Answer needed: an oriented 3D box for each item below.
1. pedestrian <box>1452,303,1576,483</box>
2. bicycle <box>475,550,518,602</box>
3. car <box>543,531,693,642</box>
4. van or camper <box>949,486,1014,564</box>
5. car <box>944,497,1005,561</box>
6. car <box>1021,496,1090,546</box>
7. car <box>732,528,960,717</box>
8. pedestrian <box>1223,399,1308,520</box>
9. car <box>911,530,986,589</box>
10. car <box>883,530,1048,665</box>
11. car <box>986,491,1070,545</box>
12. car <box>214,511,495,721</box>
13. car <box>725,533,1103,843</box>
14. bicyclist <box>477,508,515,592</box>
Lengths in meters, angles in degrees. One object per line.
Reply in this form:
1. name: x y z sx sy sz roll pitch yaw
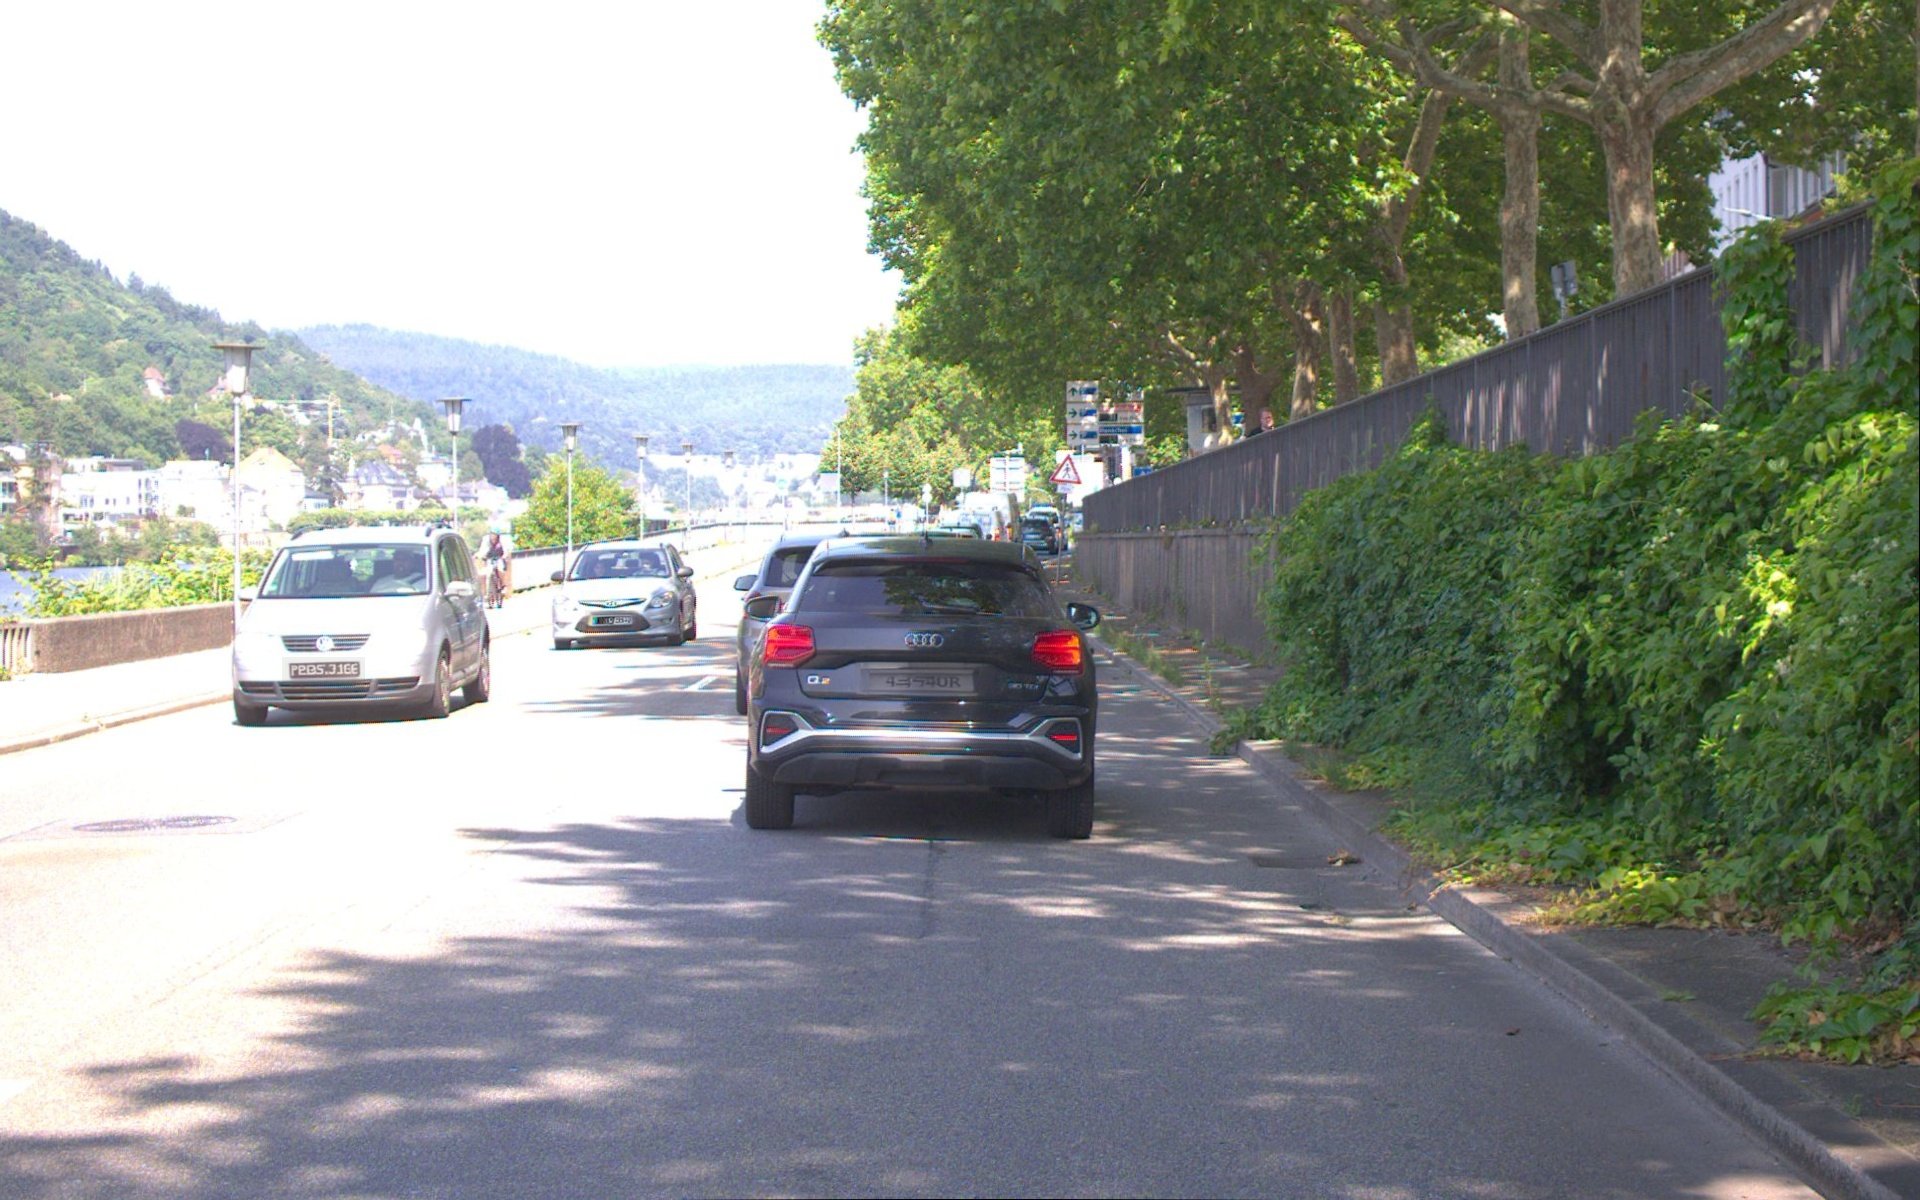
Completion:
1. pedestrian: 4.393 -1.635 27.294 0.753 1.361 0.814 -3 1 -2
2. bicycle: -9.347 -0.496 69.357 0.632 1.008 1.986 -1 1 -1
3. car: -4.777 -0.221 48.448 1.731 1.437 4.046 -2 1 -1
4. van or camper: 0.827 -2.812 128.709 2.310 2.837 4.246 -1 1 1
5. car: 0.488 -2.470 119.004 1.993 2.162 4.001 0 1 -1
6. car: 4.153 -3.484 151.058 2.661 2.006 5.825 -3 1 -1
7. car: -0.955 0.140 29.757 1.828 1.506 4.000 0 1 -1
8. pedestrian: 4.135 -1.898 46.632 0.936 1.574 1.028 -3 1 -2
9. car: -0.315 -1.040 87.300 1.828 1.439 4.000 0 1 -1
10. car: 0.025 -0.070 40.234 1.828 1.481 4.000 0 1 -1
11. car: 2.725 -3.335 140.192 3.098 2.006 5.825 -3 1 -1
12. car: -5.203 0.087 30.032 1.731 1.644 4.178 -2 1 -1
13. car: -0.257 0.391 18.718 1.828 1.481 4.000 0 1 -1
14. bicyclist: -9.342 -1.015 69.263 0.637 1.668 0.871 -1 1 -1
